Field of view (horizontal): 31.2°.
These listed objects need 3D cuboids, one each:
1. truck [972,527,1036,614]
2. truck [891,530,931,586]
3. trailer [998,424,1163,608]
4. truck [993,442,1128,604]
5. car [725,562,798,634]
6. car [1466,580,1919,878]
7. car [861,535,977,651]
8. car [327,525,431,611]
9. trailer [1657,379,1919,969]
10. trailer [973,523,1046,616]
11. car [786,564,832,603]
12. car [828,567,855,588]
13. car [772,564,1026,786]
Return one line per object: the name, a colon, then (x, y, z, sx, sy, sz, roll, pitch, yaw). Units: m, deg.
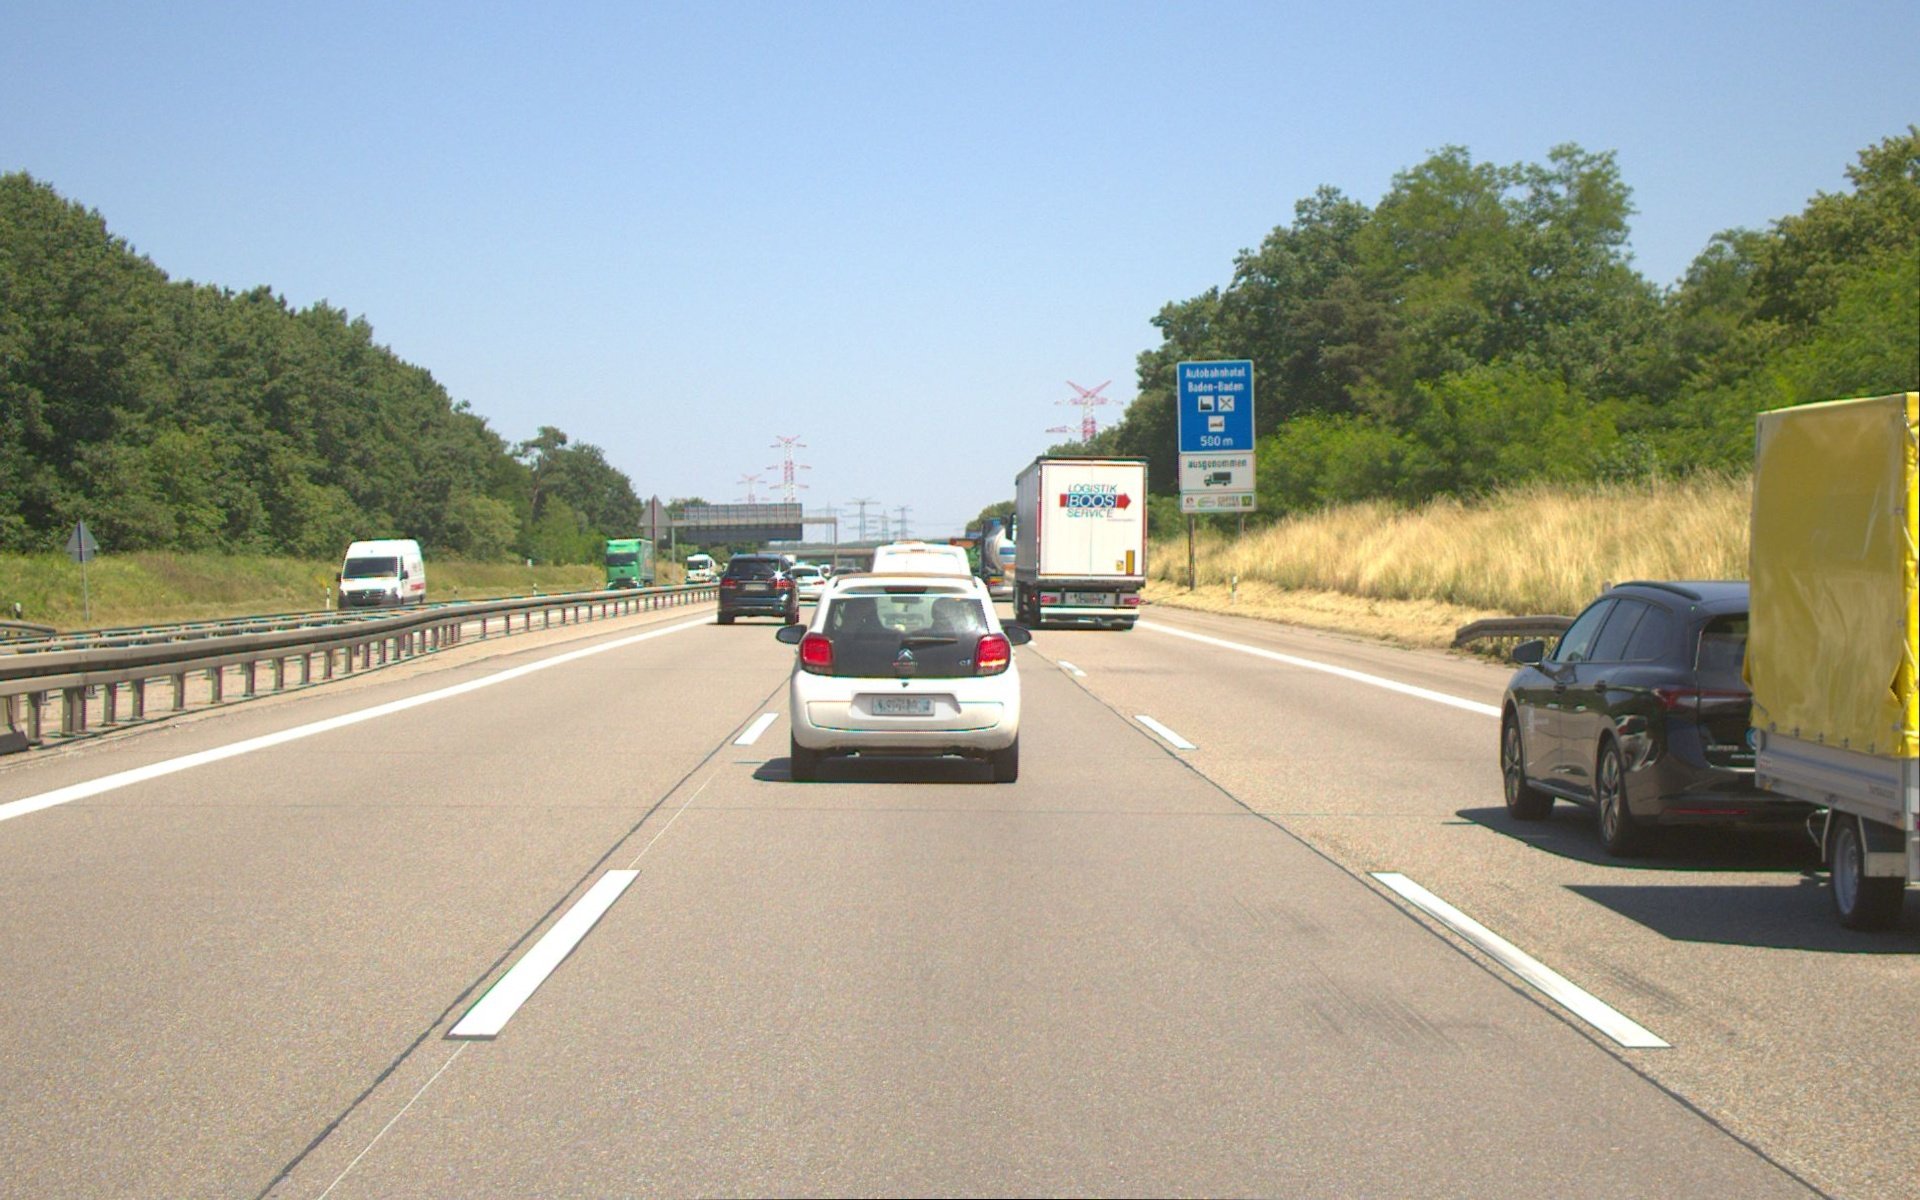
truck: (1.961, -1.328, 155.704, 2.682, 3.824, 4.444, 1, 0, -1)
truck: (-2.591, -2.177, 181.049, 2.060, 2.904, 7.003, 0, 0, -1)
trailer: (2.865, -1.977, 86.534, 3.285, 4.205, 13.566, 1, 0, -1)
truck: (2.685, -2.054, 93.829, 3.285, 4.205, 6.008, 1, 0, -1)
car: (-4.911, -0.070, 85.505, 1.626, 1.749, 3.805, 1, 1, -1)
car: (4.232, 0.634, 19.575, 1.821, 1.451, 4.789, 1, 1, -2)
car: (-0.695, -0.125, 56.287, 1.814, 1.821, 5.111, 0, 0, -1)
car: (-18.988, -1.070, 112.722, 2.165, 2.616, 7.544, -3, 1, -1)
trailer: (4.405, 0.279, 15.229, 1.703, 2.282, 3.840, 1, 0, -2)
trailer: (2.095, -1.299, 150.041, 2.682, 3.824, 12.011, 1, 0, -1)
car: (-5.585, -0.623, 127.230, 1.669, 1.396, 3.713, 0, 1, -2)
car: (-7.350, -1.414, 213.428, 1.607, 1.296, 3.674, 1, 1, -1)
car: (-0.447, 0.489, 25.371, 1.708, 1.490, 4.024, 1, 1, -1)
